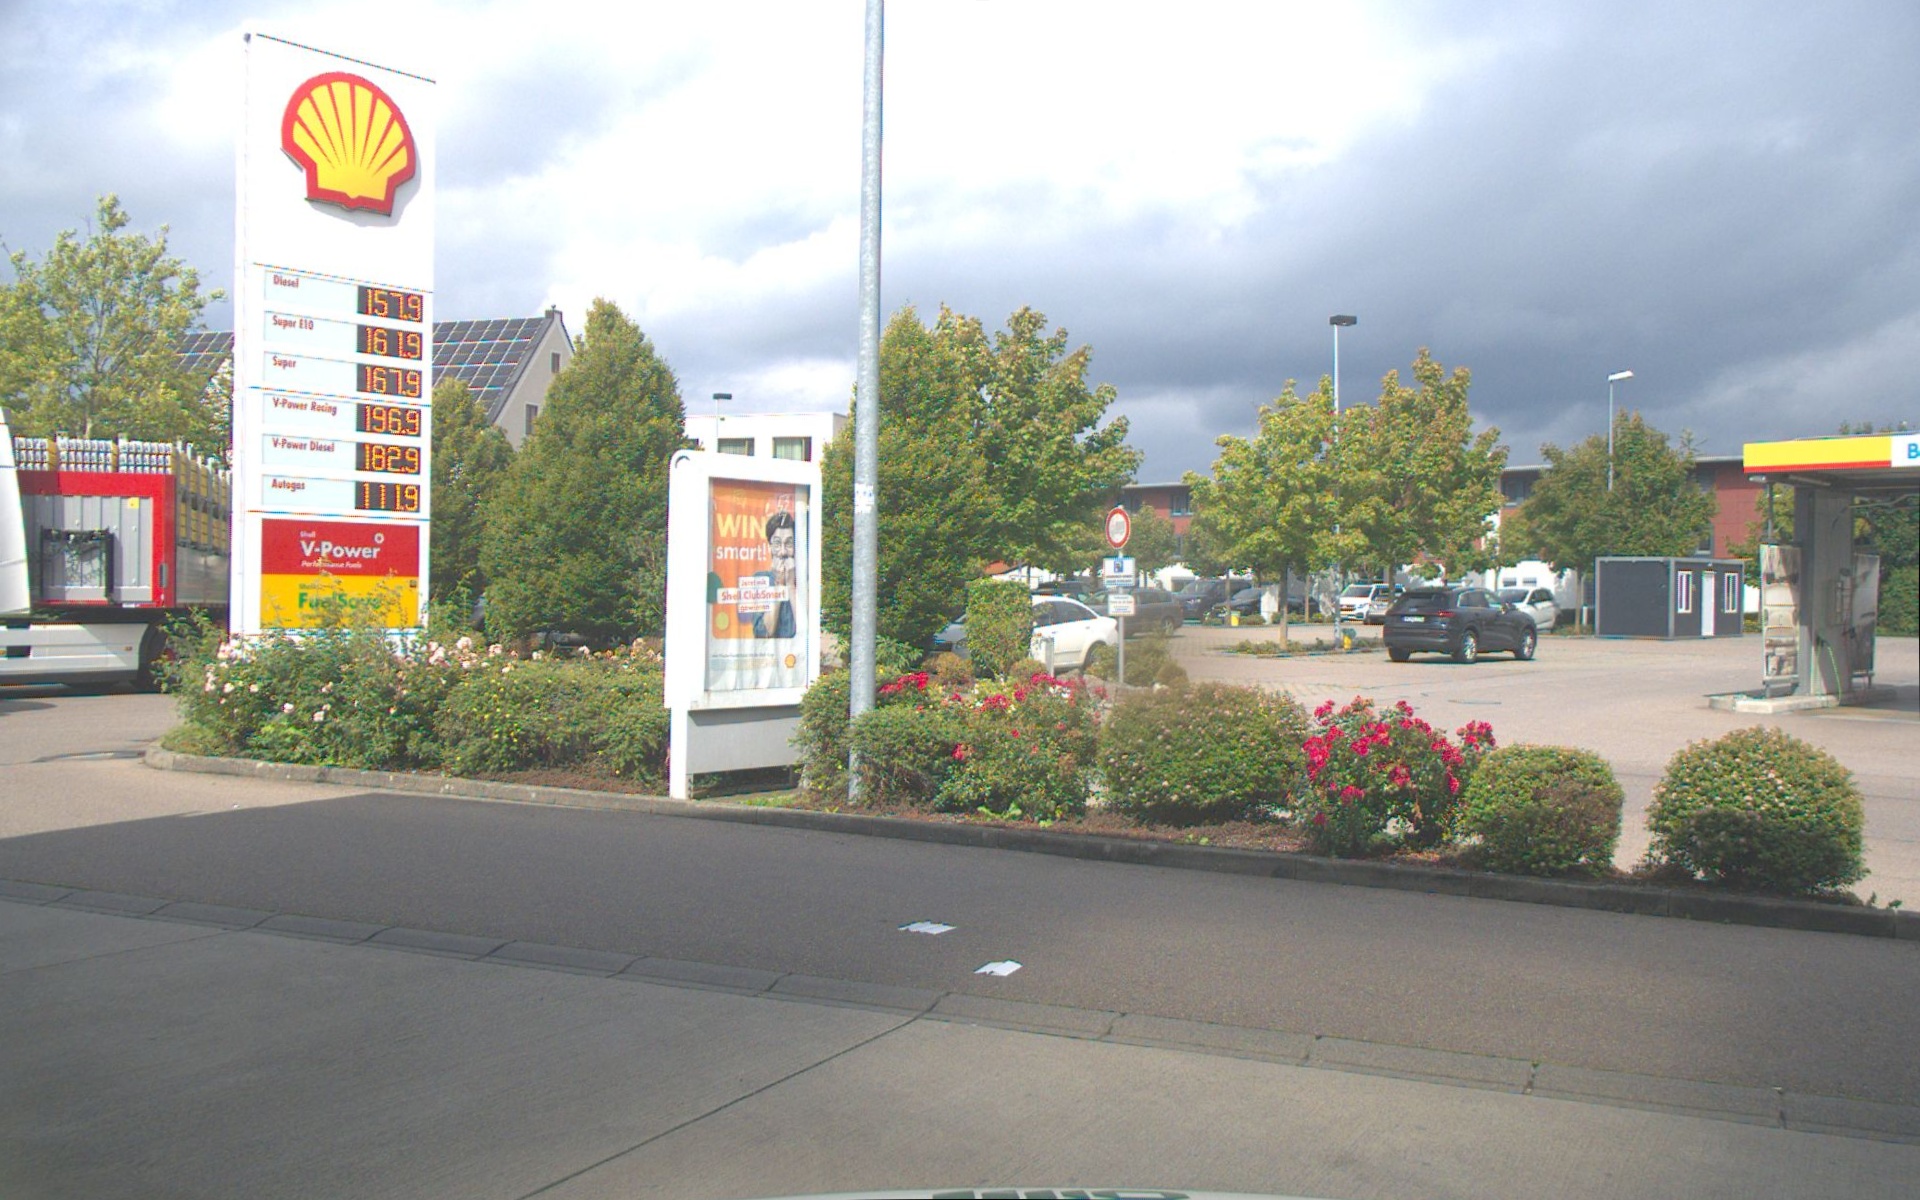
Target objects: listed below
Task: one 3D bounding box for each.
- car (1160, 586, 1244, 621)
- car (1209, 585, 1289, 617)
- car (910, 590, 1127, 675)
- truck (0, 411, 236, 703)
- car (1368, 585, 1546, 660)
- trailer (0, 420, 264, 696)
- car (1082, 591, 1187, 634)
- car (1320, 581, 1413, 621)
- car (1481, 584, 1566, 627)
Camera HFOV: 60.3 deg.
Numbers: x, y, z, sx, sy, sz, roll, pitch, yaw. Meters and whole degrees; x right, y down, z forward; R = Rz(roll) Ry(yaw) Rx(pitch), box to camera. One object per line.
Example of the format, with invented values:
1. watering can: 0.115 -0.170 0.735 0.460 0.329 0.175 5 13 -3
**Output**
1. car: 9.812 0.156 66.930 3.364 1.343 1.719 1 0 -45
2. car: 11.414 0.052 65.207 3.393 1.199 1.462 1 0 -45
3. car: 1.132 0.586 29.934 1.348 1.428 4.312 1 -1 45
4. truck: -13.732 -0.589 23.452 2.681 3.913 5.909 1 0 29
5. car: 11.130 0.495 36.891 4.467 1.575 1.856 1 0 -44
6. trailer: -14.389 -0.573 29.314 2.688 3.842 12.646 1 0 -18
7. car: 5.279 0.378 49.790 3.203 1.249 1.481 1 0 -45
8. car: 19.917 0.047 80.943 4.839 1.865 2.150 1 0 -44
9. car: 18.008 0.179 52.803 3.080 1.330 1.346 1 -1 -45
